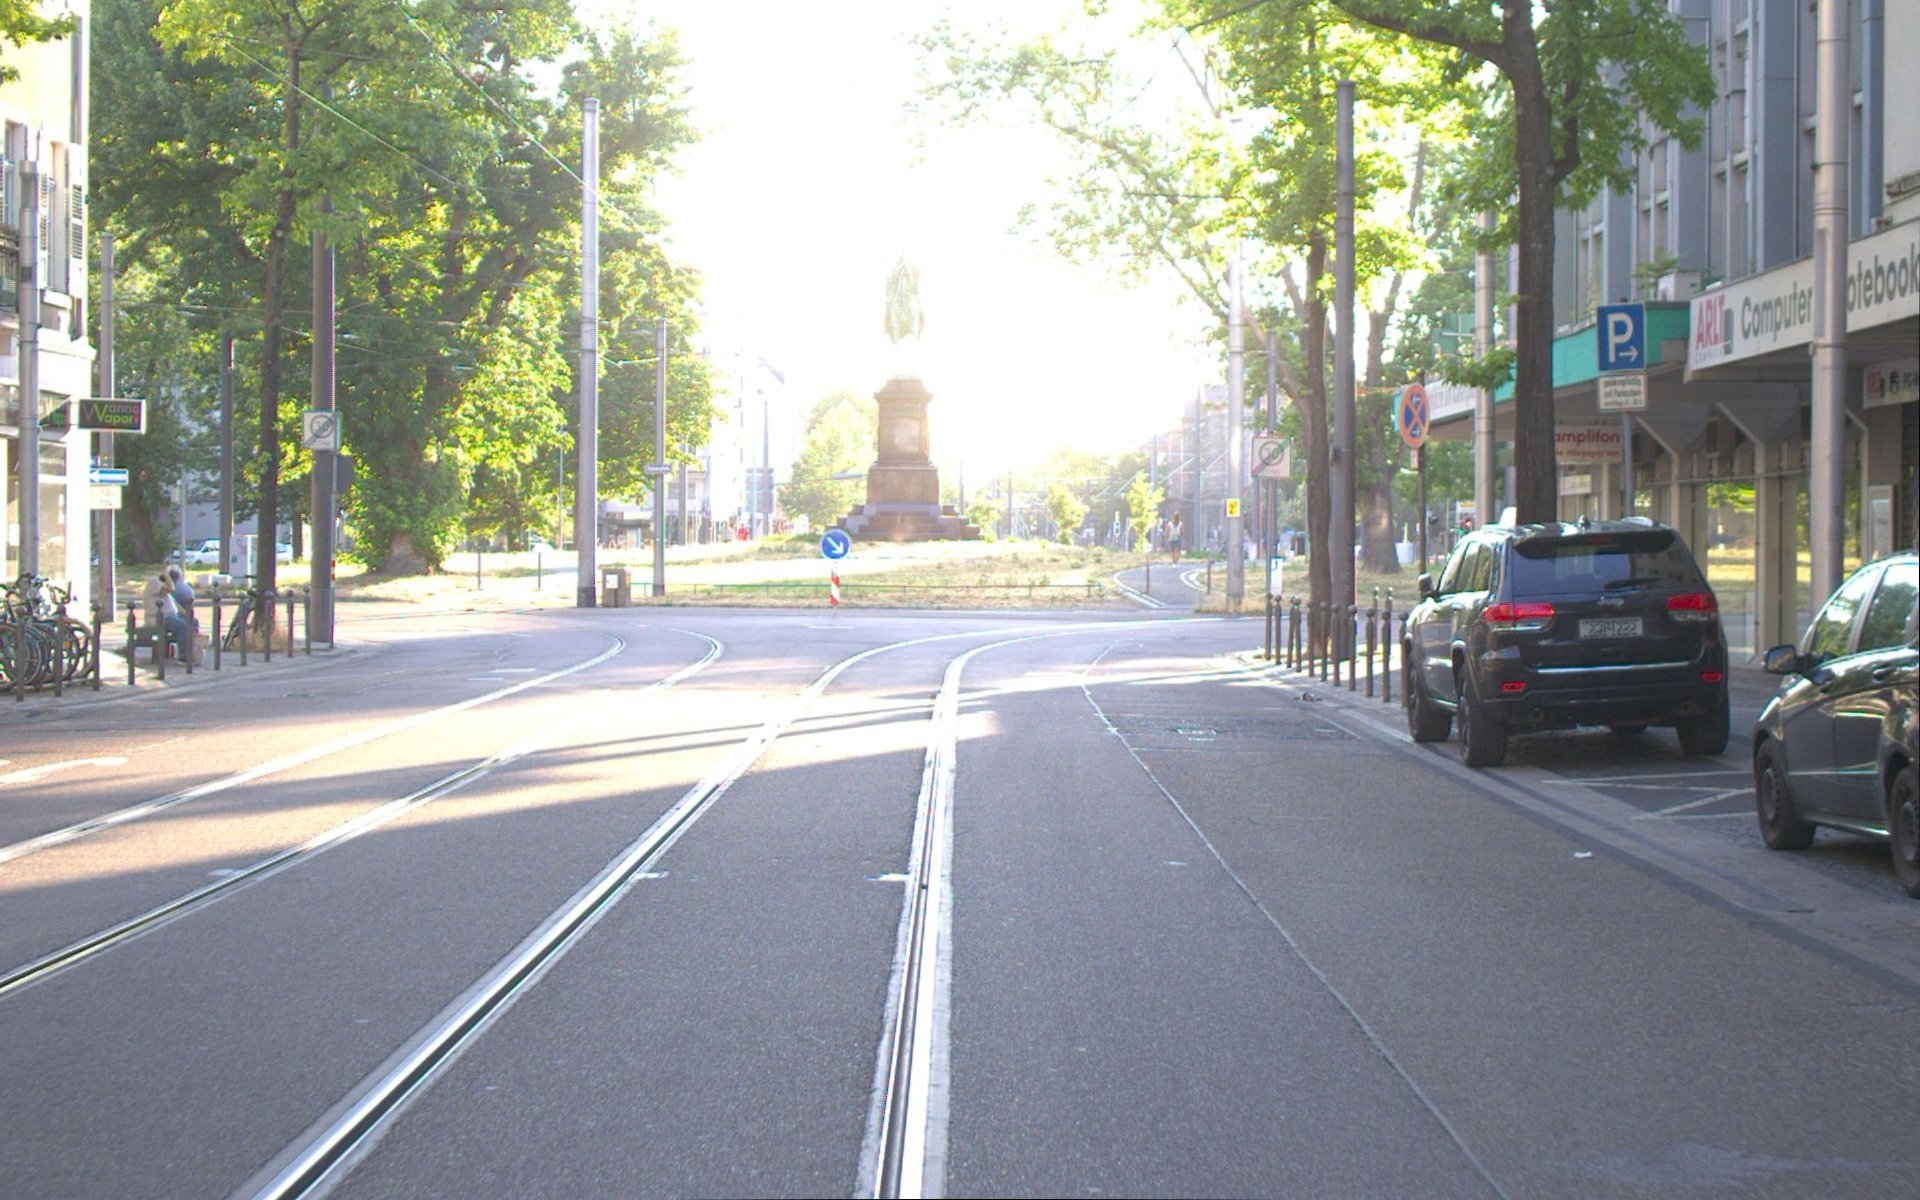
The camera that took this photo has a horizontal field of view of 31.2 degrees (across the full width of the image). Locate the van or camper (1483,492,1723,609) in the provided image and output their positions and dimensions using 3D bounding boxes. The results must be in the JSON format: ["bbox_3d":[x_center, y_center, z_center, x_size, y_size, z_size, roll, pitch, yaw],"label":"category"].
[{"bbox_3d":[14.251,-1.122,75.886,2.613,2.464,6.306,1,2,38],"label":"van or camper"}]

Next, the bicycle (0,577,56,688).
[{"bbox_3d":[-10.225,0.302,34.575,2.108,1.101,0.501,2,0,-25],"label":"bicycle"}]

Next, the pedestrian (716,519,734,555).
[{"bbox_3d":[-10.439,-2.807,152.993,0.769,1.600,0.638,0,1,-6],"label":"pedestrian"}]

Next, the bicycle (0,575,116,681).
[{"bbox_3d":[-10.235,0.286,37.267,2.024,1.101,0.501,2,0,3],"label":"bicycle"}]

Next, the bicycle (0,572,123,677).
[{"bbox_3d":[-10.186,0.264,38.137,2.028,1.101,0.500,2,0,35],"label":"bicycle"}]

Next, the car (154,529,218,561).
[{"bbox_3d":[-35.024,-2.518,155.659,1.877,1.415,3.925,0,1,3],"label":"car"}]

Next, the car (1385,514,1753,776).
[{"bbox_3d":[4.607,0.278,26.713,1.938,1.753,4.680,-3,1,0],"label":"car"}]

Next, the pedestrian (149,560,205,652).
[{"bbox_3d":[-10.294,0.079,45.203,0.591,1.189,0.642,1,1,-2],"label":"pedestrian"}]

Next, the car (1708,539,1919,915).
[{"bbox_3d":[5.043,0.509,16.900,1.776,1.585,3.892,-3,1,0],"label":"car"}]

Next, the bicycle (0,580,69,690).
[{"bbox_3d":[-10.220,0.338,35.219,2.023,1.101,0.501,2,0,-25],"label":"bicycle"}]

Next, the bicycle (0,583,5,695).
[{"bbox_3d":[-10.415,0.349,33.679,1.945,1.101,0.567,2,0,-25],"label":"bicycle"}]

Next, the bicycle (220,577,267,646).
[{"bbox_3d":[-10.180,0.158,48.868,0.336,0.942,1.510,0,1,1],"label":"bicycle"}]

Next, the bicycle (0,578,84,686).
[{"bbox_3d":[-10.215,0.317,35.801,2.023,1.101,0.501,2,0,-25],"label":"bicycle"}]

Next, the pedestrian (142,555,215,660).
[{"bbox_3d":[-9.897,0.089,43.558,0.728,1.286,0.857,1,1,-2],"label":"pedestrian"}]

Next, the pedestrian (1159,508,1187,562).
[{"bbox_3d":[6.329,-1.944,102.160,0.637,1.600,0.771,1,1,21],"label":"pedestrian"}]

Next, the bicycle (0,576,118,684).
[{"bbox_3d":[-10.075,0.300,36.679,2.024,1.101,0.501,2,0,3],"label":"bicycle"}]

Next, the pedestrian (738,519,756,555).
[{"bbox_3d":[-9.434,-2.796,152.593,0.769,1.600,0.638,0,1,-6],"label":"pedestrian"}]
